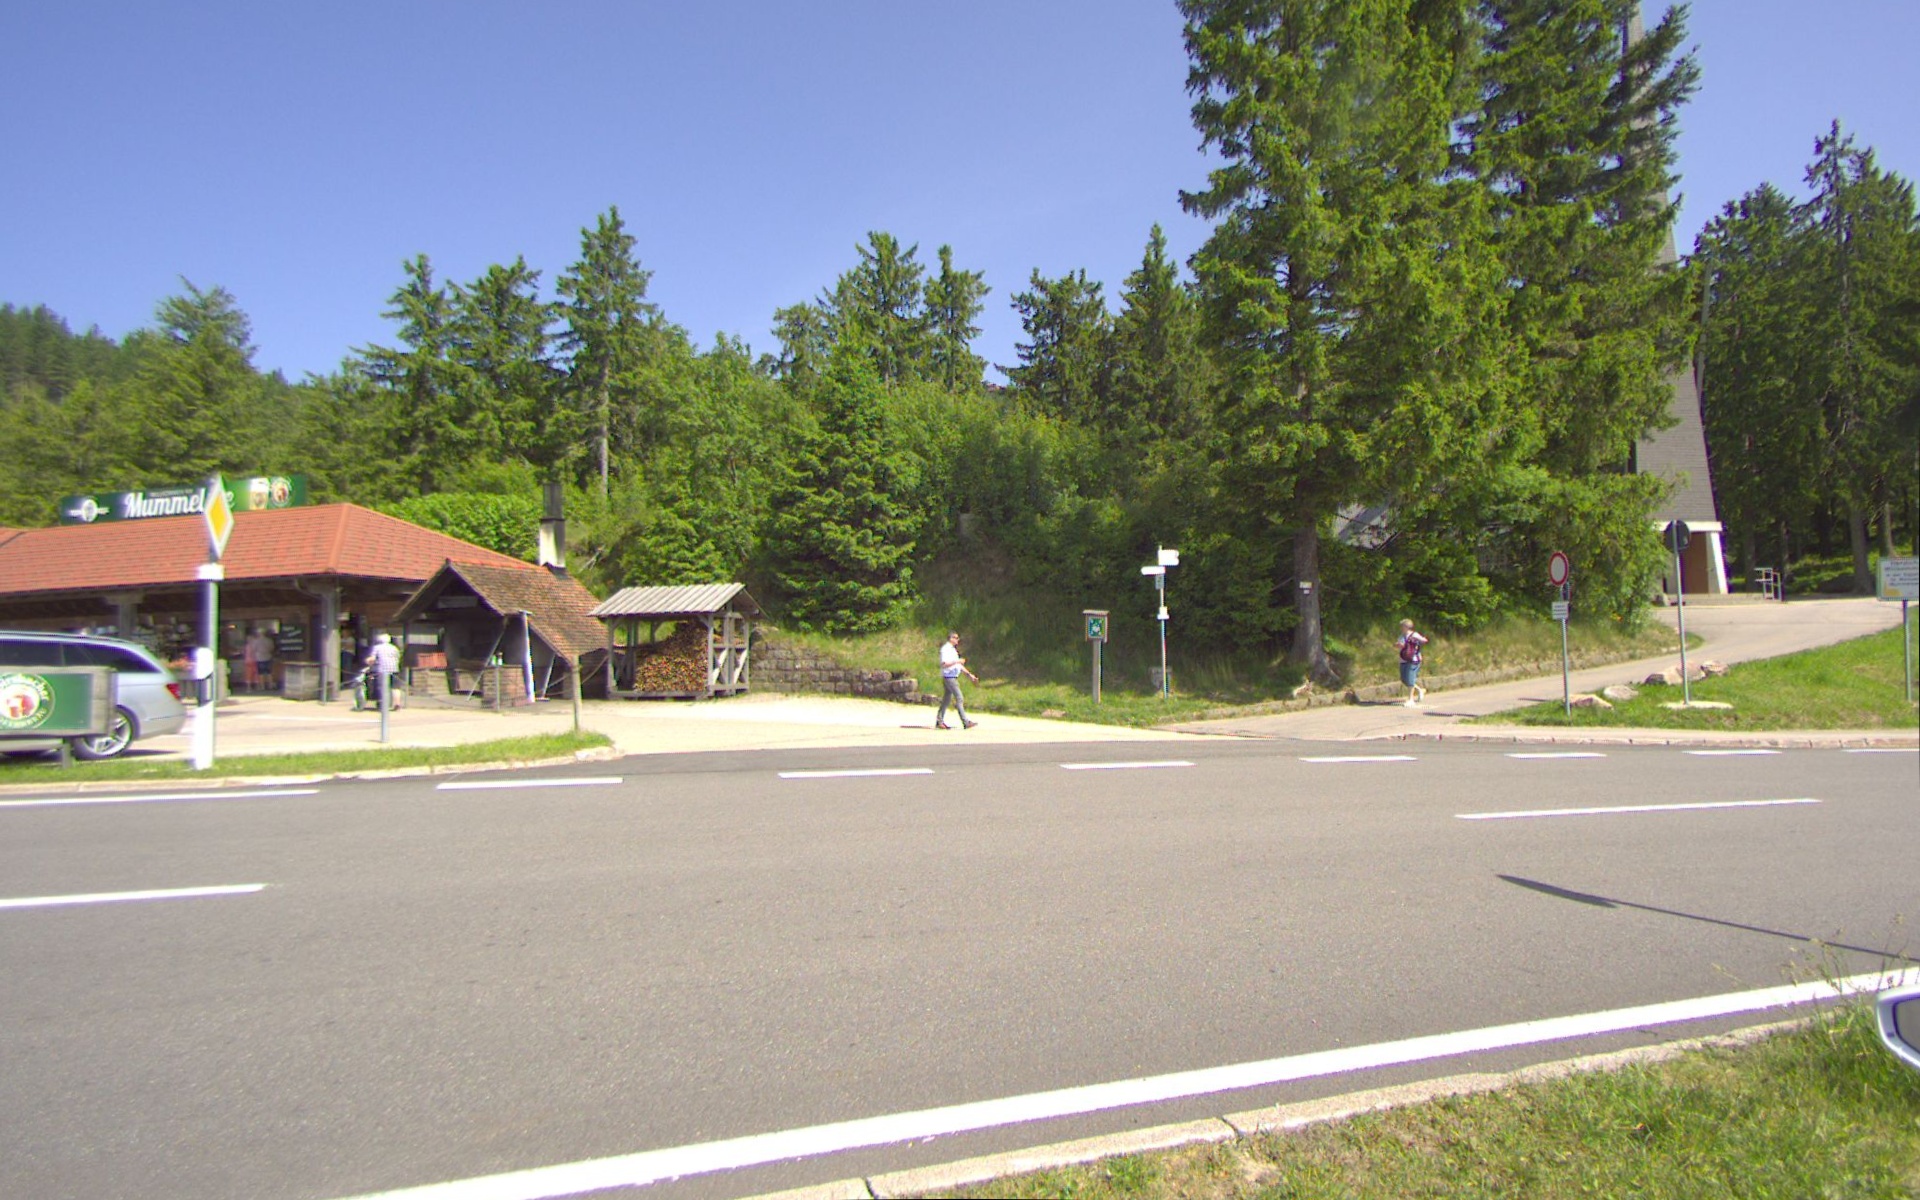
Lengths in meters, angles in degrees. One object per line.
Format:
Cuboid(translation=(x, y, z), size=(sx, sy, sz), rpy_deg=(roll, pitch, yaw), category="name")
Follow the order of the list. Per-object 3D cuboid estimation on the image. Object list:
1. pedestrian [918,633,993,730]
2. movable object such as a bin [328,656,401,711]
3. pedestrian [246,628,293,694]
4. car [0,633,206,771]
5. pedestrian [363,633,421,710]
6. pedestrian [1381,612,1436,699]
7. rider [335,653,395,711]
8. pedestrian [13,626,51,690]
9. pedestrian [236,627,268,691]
Cuboid(translation=(-0.067, 1.472, 18.497), size=(1.139, 1.720, 0.979), rpy_deg=(-1, -3, 17), category="pedestrian")
Cuboid(translation=(-13.801, 1.920, 23.284), size=(1.195, 1.204, 0.982), rpy_deg=(-1, -3, 31), category="movable object such as a bin")
Cuboid(translation=(-18.786, 1.640, 27.318), size=(0.789, 1.759, 0.748), rpy_deg=(-1, -3, 31), category="pedestrian")
Cuboid(translation=(-11.028, 1.081, 10.731), size=(1.688, 1.449, 4.503), rpy_deg=(-1, -4, 21), category="car")
Cuboid(translation=(-12.895, 1.607, 22.805), size=(0.789, 1.721, 0.838), rpy_deg=(-1, -3, 31), category="pedestrian")
Cuboid(translation=(8.948, 1.106, 20.063), size=(0.673, 1.703, 0.718), rpy_deg=(1, -3, -23), category="pedestrian")
Cuboid(translation=(-13.767, 1.883, 23.240), size=(0.893, 1.291, 0.838), rpy_deg=(-1, -3, 31), category="rider")
Cuboid(translation=(-24.636, 1.541, 26.673), size=(0.461, 1.677, 0.508), rpy_deg=(0, -2, 12), category="pedestrian")
Cuboid(translation=(-19.546, 1.623, 27.752), size=(0.548, 1.759, 0.668), rpy_deg=(1, -2, -24), category="pedestrian")
